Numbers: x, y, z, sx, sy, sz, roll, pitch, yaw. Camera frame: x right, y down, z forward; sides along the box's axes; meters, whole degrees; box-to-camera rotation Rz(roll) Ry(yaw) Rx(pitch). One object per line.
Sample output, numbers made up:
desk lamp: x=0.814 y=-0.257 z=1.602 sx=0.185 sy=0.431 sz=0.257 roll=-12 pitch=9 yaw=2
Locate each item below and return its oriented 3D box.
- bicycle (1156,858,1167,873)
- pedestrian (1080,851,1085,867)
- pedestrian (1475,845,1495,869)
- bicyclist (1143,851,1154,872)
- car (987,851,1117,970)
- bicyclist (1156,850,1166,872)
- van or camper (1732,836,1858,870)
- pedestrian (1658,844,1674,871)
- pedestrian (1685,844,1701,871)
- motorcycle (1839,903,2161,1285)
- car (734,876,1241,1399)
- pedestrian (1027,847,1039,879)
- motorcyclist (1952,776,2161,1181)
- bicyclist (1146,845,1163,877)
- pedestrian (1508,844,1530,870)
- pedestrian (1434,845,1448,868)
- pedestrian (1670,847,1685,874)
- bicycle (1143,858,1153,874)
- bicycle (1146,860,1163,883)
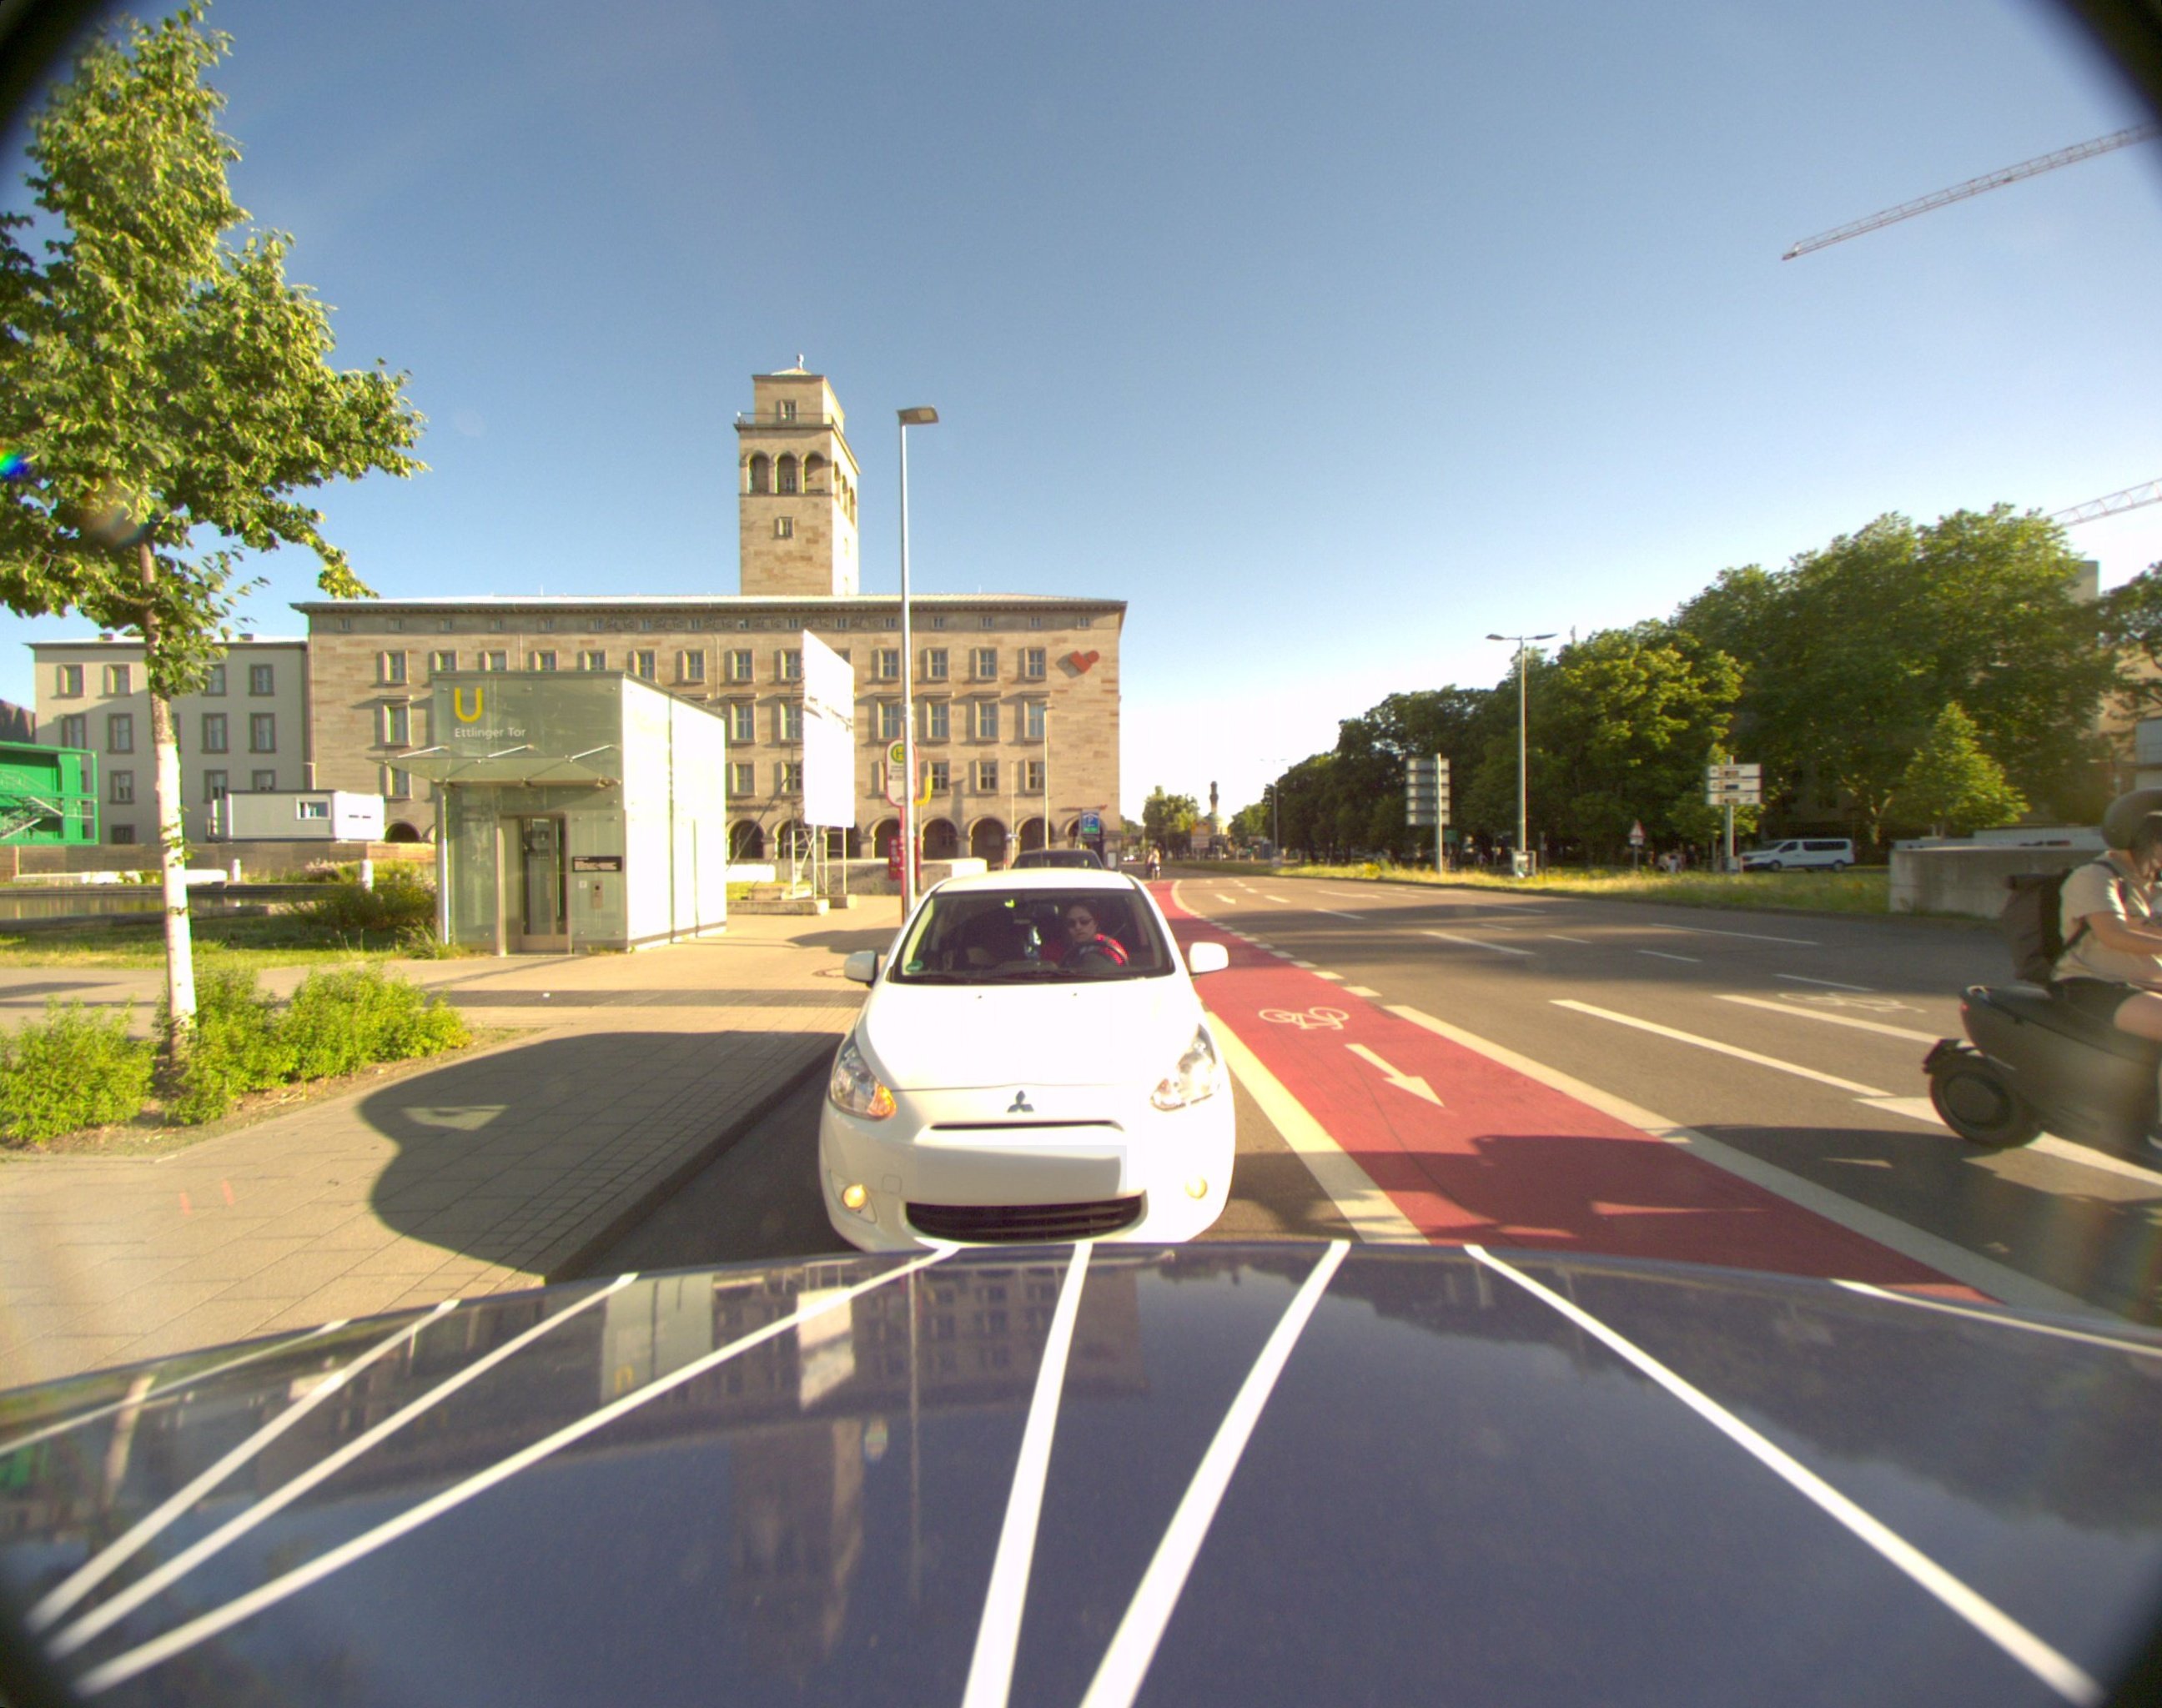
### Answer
bicycle: x=6.205 y=0.884 z=58.798 sx=0.689 sy=1.185 sz=1.506 roll=-1 pitch=1 yaw=1
pedestrian: x=0.225 y=0.653 z=101.517 sx=0.612 sy=2.002 sz=0.727 roll=-2 pitch=1 yaw=0
pedestrian: x=32.799 y=0.245 z=61.746 sx=0.951 sy=1.952 sz=1.058 roll=-2 pitch=1 yaw=-14
bicyclist: x=5.262 y=0.592 z=59.235 sx=0.824 sy=1.568 sz=0.877 roll=-1 pitch=1 yaw=1
car: x=-0.389 y=0.794 z=12.802 sx=1.833 sy=1.660 sz=4.000 roll=-1 pitch=0 yaw=1
bicyclist: x=6.200 y=0.520 z=58.924 sx=0.674 sy=1.649 sz=0.877 roll=-1 pitch=1 yaw=1
van or camper: x=42.237 y=-0.054 z=45.060 sx=5.499 sy=1.934 sz=1.951 roll=-1 pitch=0 yaw=4
pedestrian: x=32.341 y=0.185 z=42.026 sx=0.499 sy=1.502 sz=0.494 roll=-1 pitch=1 yaw=1
pedestrian: x=33.988 y=0.201 z=42.187 sx=0.499 sy=1.502 sz=0.494 roll=-1 pitch=1 yaw=1
motorcycle: x=4.272 y=0.898 z=2.901 sx=0.828 sy=1.273 sz=1.944 roll=-1 pitch=0 yaw=1
car: x=-0.256 y=0.926 z=4.306 sx=1.519 sy=1.447 sz=4.000 roll=-1 pitch=0 yaw=1
pedestrian: x=-2.562 y=0.462 z=40.658 sx=0.552 sy=1.692 sz=0.553 roll=-1 pitch=1 yaw=-1
motorcyclist: x=4.289 y=0.442 z=2.942 sx=0.824 sy=1.455 sz=0.877 roll=-1 pitch=1 yaw=1
bicyclist: x=3.956 y=0.371 z=40.916 sx=0.807 sy=1.690 sz=0.852 roll=-1 pitch=1 yaw=1
pedestrian: x=32.954 y=0.219 z=57.165 sx=1.126 sy=1.952 sz=0.815 roll=-2 pitch=1 yaw=1
pedestrian: x=32.382 y=0.213 z=68.306 sx=0.954 sy=2.002 sz=0.842 roll=-1 pitch=1 yaw=36
pedestrian: x=33.035 y=0.372 z=42.081 sx=0.499 sy=1.502 sz=0.494 roll=-1 pitch=1 yaw=1
bicycle: x=5.221 y=0.948 z=59.224 sx=0.689 sy=1.185 sz=1.506 roll=-1 pitch=1 yaw=1
bicycle: x=3.967 y=0.920 z=40.910 sx=0.741 sy=1.140 sz=1.890 roll=-1 pitch=0 yaw=1
